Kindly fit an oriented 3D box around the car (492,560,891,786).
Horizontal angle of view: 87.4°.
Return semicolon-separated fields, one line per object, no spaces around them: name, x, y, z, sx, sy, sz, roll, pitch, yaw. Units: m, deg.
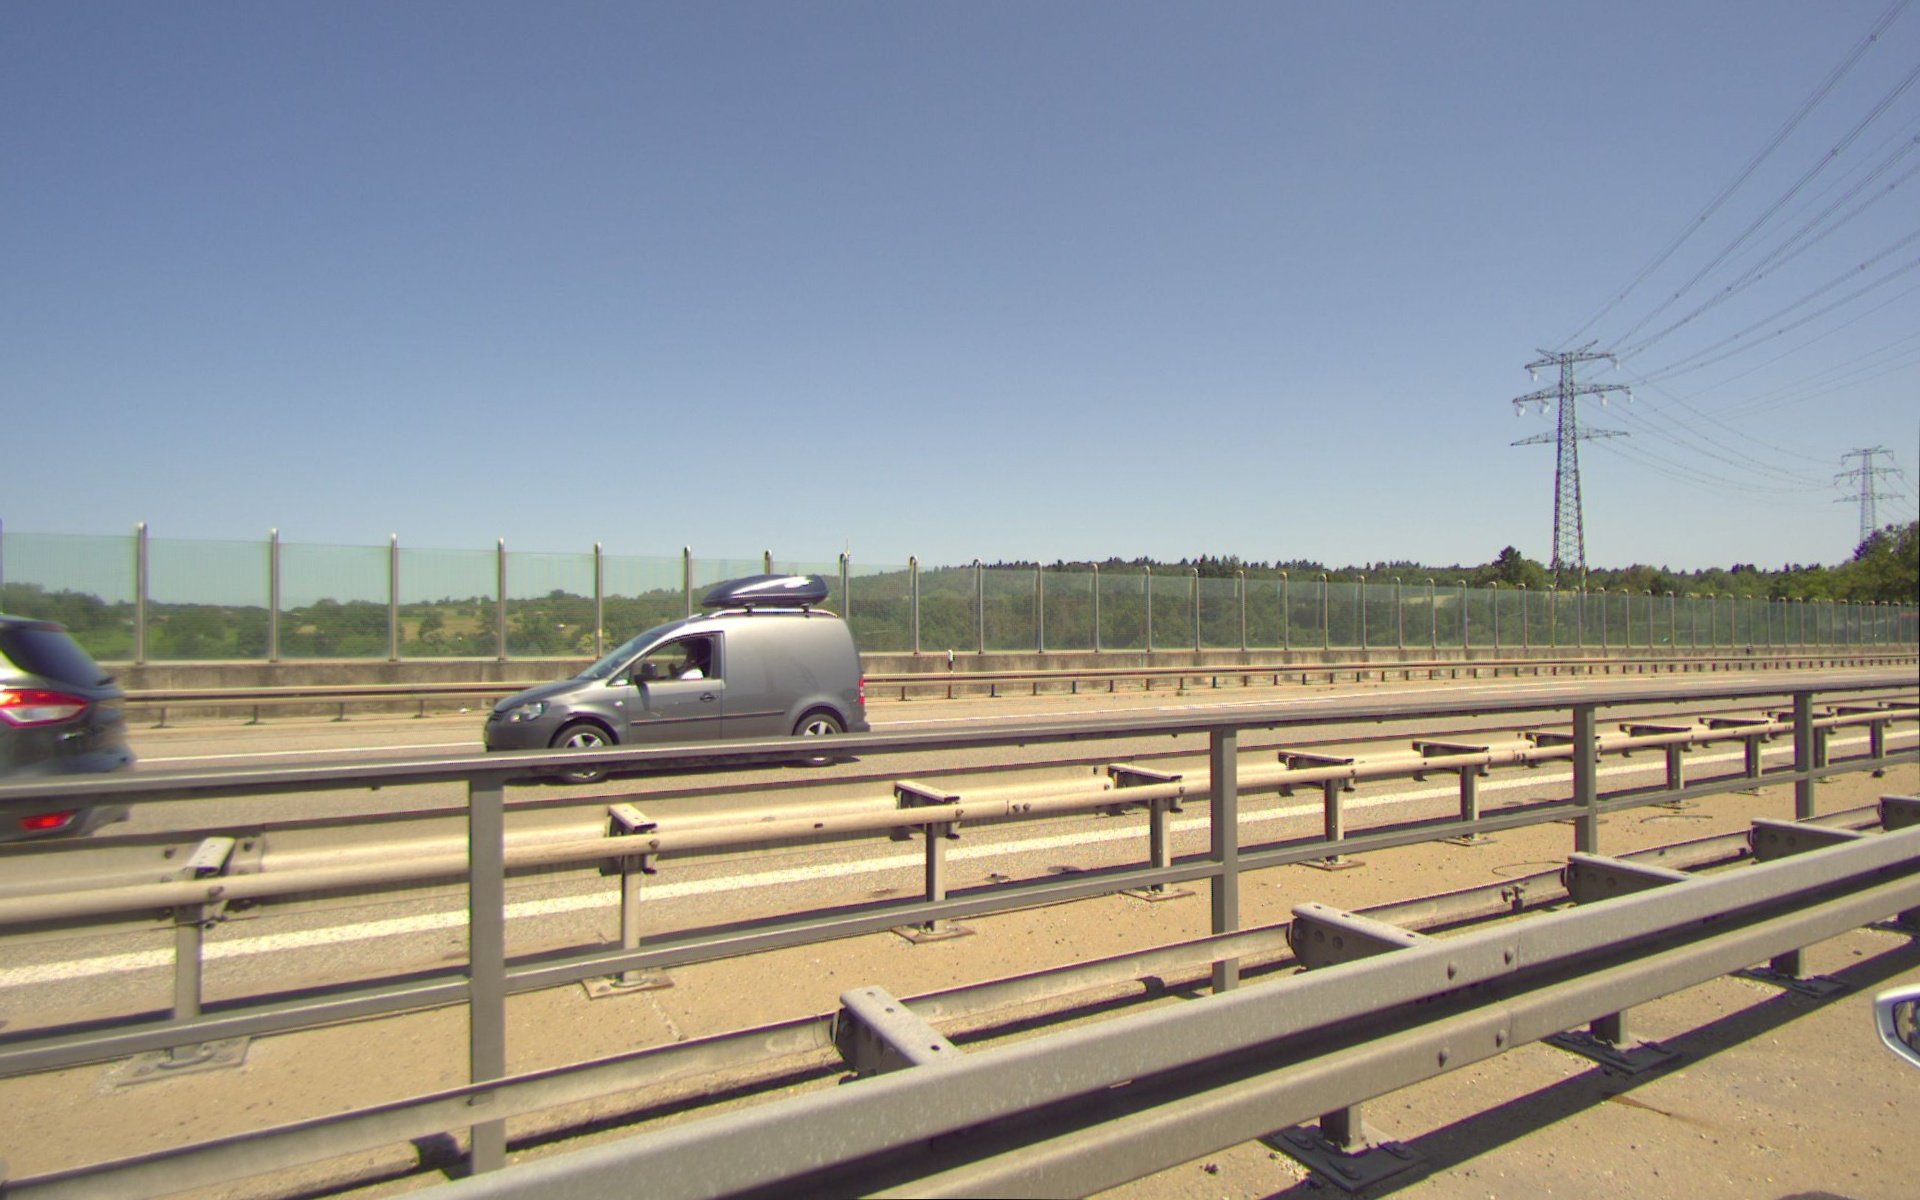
car;-3.144;0.816;11.940;4.219;2.244;1.984;1;-3;-31

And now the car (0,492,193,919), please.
car;-6.716;0.548;5.086;4.217;2.158;1.855;1;-3;-30
